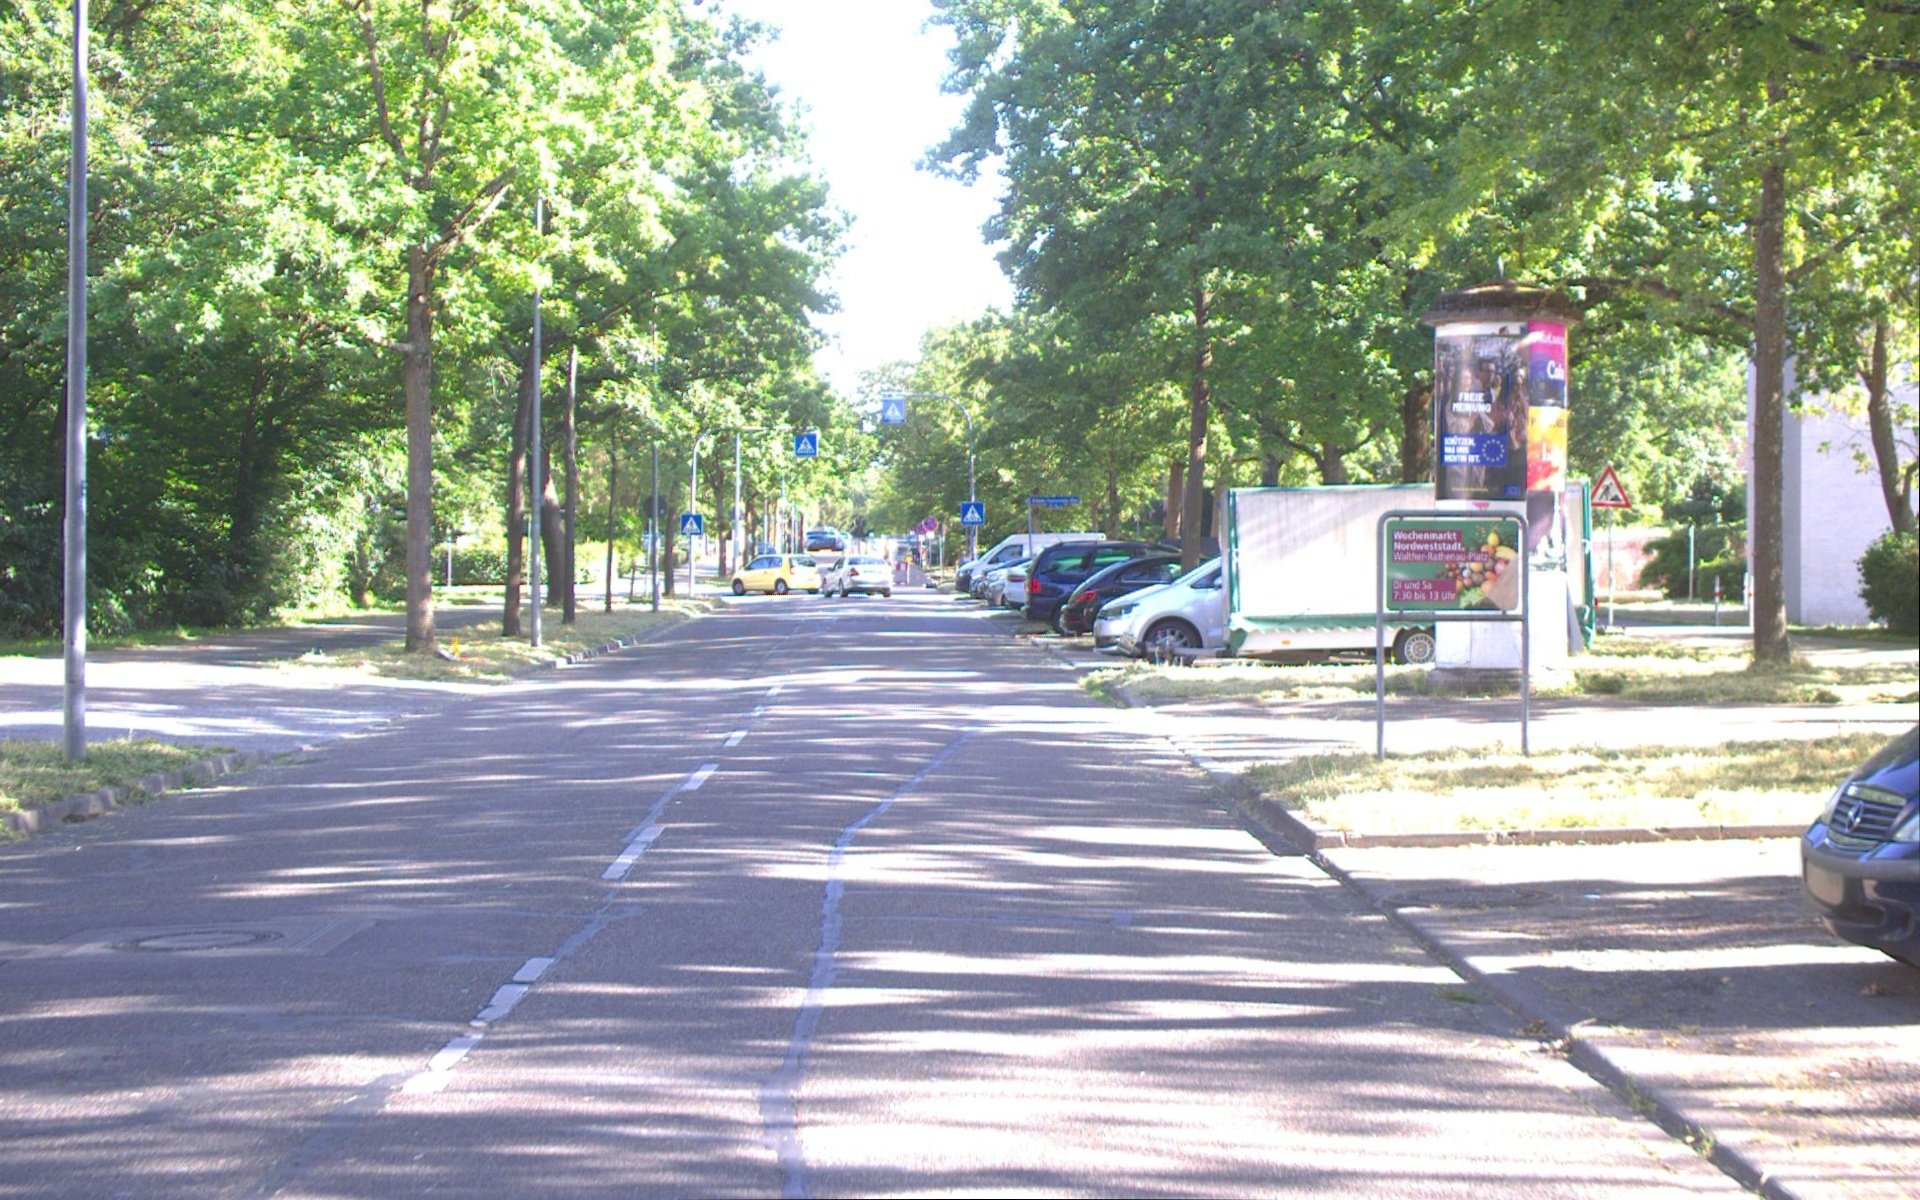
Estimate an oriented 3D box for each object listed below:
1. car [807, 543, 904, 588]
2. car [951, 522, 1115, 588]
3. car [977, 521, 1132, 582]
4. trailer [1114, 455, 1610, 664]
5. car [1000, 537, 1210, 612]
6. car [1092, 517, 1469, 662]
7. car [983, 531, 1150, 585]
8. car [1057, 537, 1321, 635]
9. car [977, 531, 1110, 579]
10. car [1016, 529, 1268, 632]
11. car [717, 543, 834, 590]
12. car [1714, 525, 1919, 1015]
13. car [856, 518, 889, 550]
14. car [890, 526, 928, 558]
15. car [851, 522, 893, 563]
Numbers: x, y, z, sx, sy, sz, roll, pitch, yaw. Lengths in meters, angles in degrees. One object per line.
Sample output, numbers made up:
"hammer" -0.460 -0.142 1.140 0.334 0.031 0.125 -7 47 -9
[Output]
"car" -3.531 -1.171 115.506 1.993 1.479 4.001 0 1 -22
"car" 2.352 -1.471 111.426 5.186 2.098 2.083 0 1 -3
"car" 2.763 -1.435 101.120 4.384 1.645 1.851 -2 1 -3
"trailer" 4.813 -0.501 41.692 5.775 2.309 1.686 -2 1 1
"car" 3.280 -0.589 78.388 4.670 1.575 1.917 -1 1 0
"car" 4.092 -0.157 44.490 4.642 1.716 1.988 -2 1 0
"car" 2.869 -1.148 93.518 4.445 1.385 1.911 -1 1 -1
"car" 3.785 -0.249 57.339 4.245 1.513 2.078 -1 1 0
"car" 2.498 -1.357 103.653 3.987 1.428 1.901 0 1 1
"car" 3.354 -0.375 64.042 4.529 1.795 1.936 -1 1 -1
"car" -6.631 -1.224 123.370 3.997 1.650 1.995 1 1 43
"car" 4.674 0.491 12.060 3.583 1.571 1.857 -1 1 -2
"car" -5.548 -4.171 217.637 1.993 1.962 4.001 1 1 -2
"car" -2.819 -3.165 188.115 1.993 1.711 4.001 1 1 -2
"car" -4.283 -2.806 167.131 1.993 1.926 4.001 1 1 -2
